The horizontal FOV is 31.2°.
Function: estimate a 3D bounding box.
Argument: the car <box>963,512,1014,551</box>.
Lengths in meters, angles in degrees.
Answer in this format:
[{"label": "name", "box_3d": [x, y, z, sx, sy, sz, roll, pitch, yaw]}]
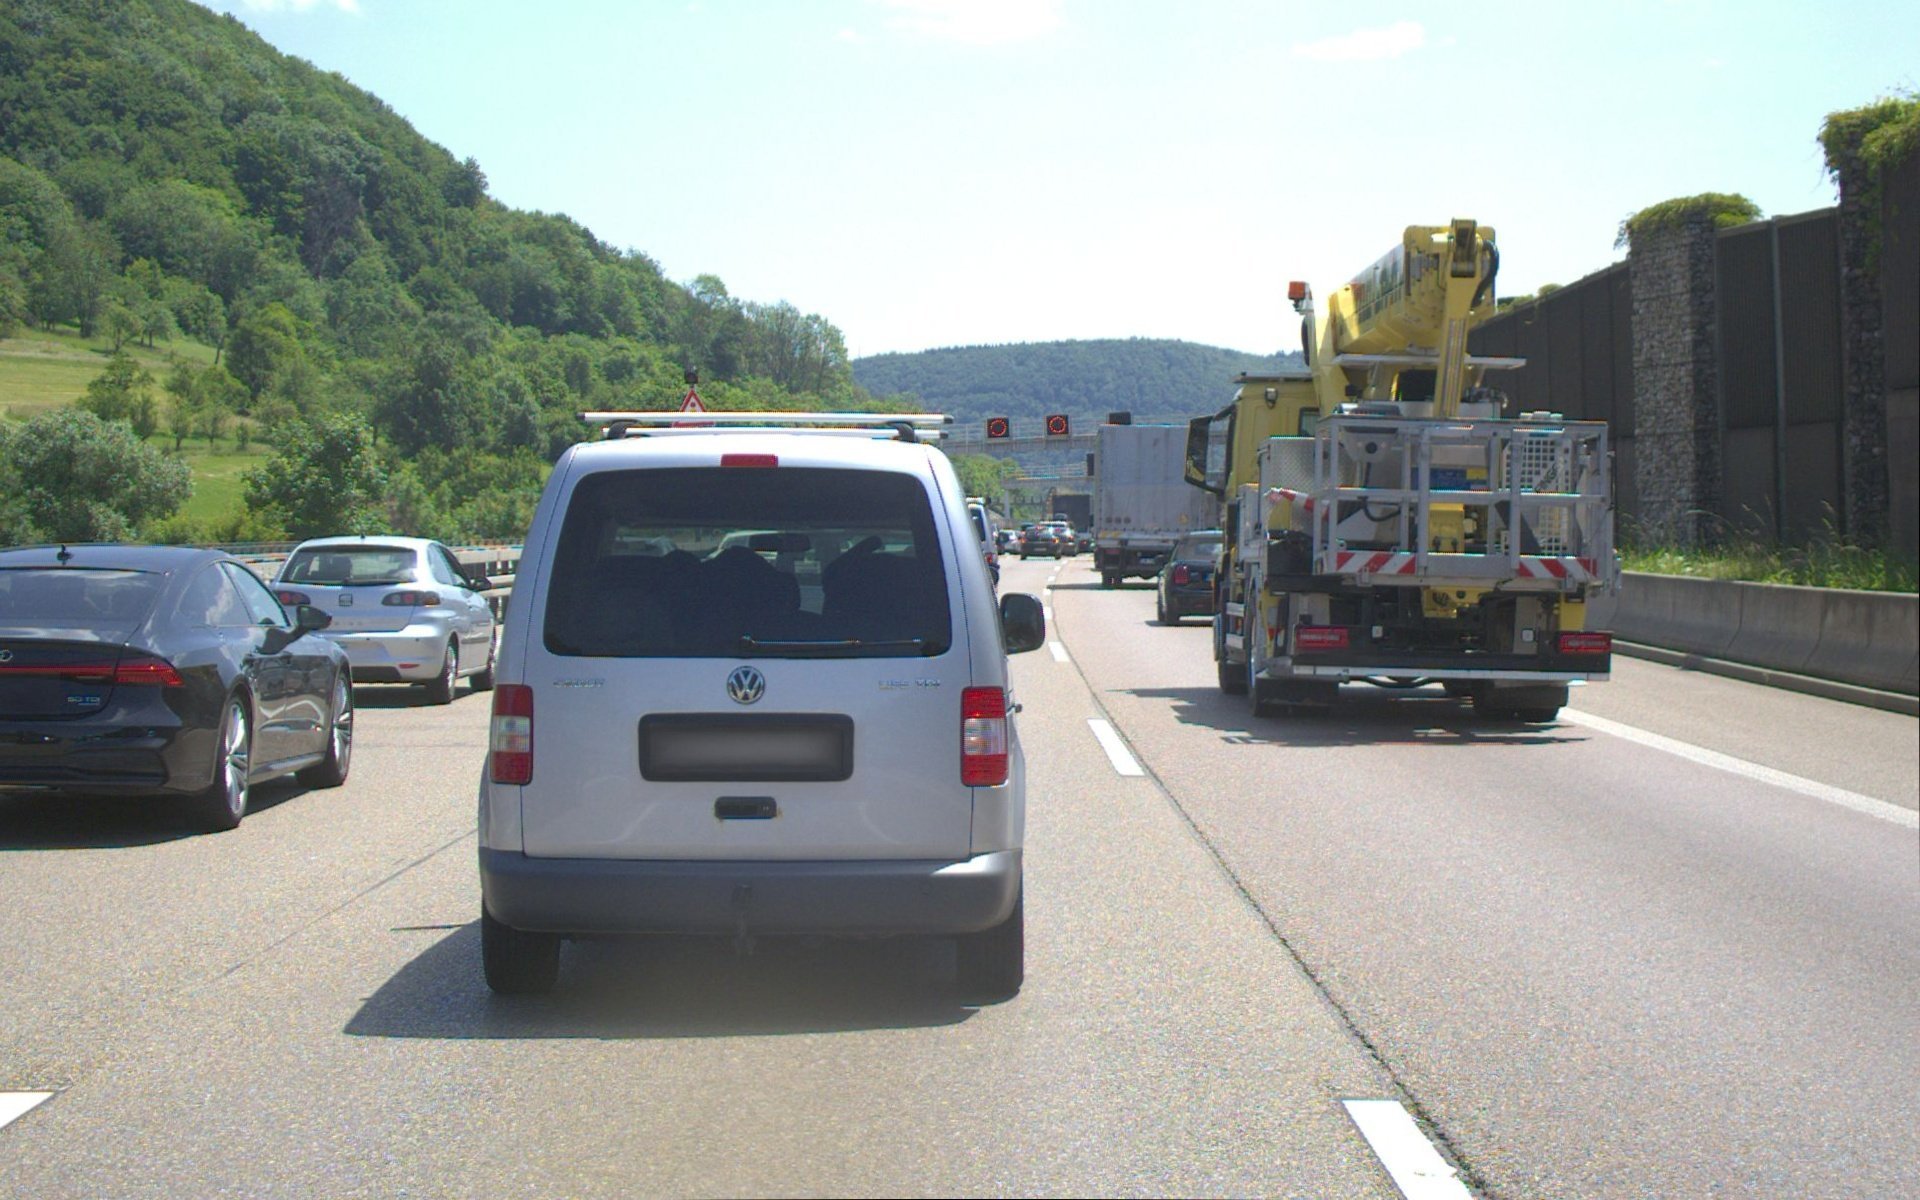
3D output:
[{"label": "car", "box_3d": [1.323, -3.226, 162.935, 2.114, 1.821, 4.001, 0, 1, -4]}]

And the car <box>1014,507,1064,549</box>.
[{"label": "car", "box_3d": [3.310, -3.033, 145.001, 1.993, 1.743, 4.000, 1, 1, 0]}]

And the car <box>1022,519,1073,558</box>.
[{"label": "car", "box_3d": [4.222, -2.959, 166.318, 2.114, 1.821, 4.001, 0, 1, -4]}]

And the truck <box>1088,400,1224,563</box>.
[{"label": "truck", "box_3d": [4.757, -2.834, 84.834, 2.940, 3.810, 8.237, 1, 1, 1]}]

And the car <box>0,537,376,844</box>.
[{"label": "car", "box_3d": [-4.454, 0.376, 18.345, 1.800, 1.385, 4.970, 0, 1, 0]}]

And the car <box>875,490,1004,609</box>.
[{"label": "car", "box_3d": [-0.386, -0.881, 58.857, 1.993, 1.969, 4.001, 0, 1, -3]}]

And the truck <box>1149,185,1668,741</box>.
[{"label": "truck", "box_3d": [3.432, -1.076, 28.765, 2.703, 3.929, 8.723, 0, 1, -3]}]

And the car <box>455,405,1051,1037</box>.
[{"label": "car", "box_3d": [-0.726, 0.311, 12.211, 1.756, 1.861, 4.001, 0, 1, -3]}]

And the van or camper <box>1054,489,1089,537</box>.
[{"label": "van or camper", "box_3d": [7.024, -5.448, 217.060, 1.993, 2.943, 5.423, 1, 1, -1]}]

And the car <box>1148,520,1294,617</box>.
[{"label": "car", "box_3d": [4.043, -0.520, 53.792, 1.786, 1.453, 3.771, 0, 1, -3]}]

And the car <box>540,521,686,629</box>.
[{"label": "car", "box_3d": [-4.953, -0.389, 49.524, 1.924, 1.494, 4.001, 0, 1, -3]}]

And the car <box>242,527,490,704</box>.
[{"label": "car", "box_3d": [-5.154, 0.086, 30.246, 1.695, 1.440, 3.862, 0, 1, -3]}]
